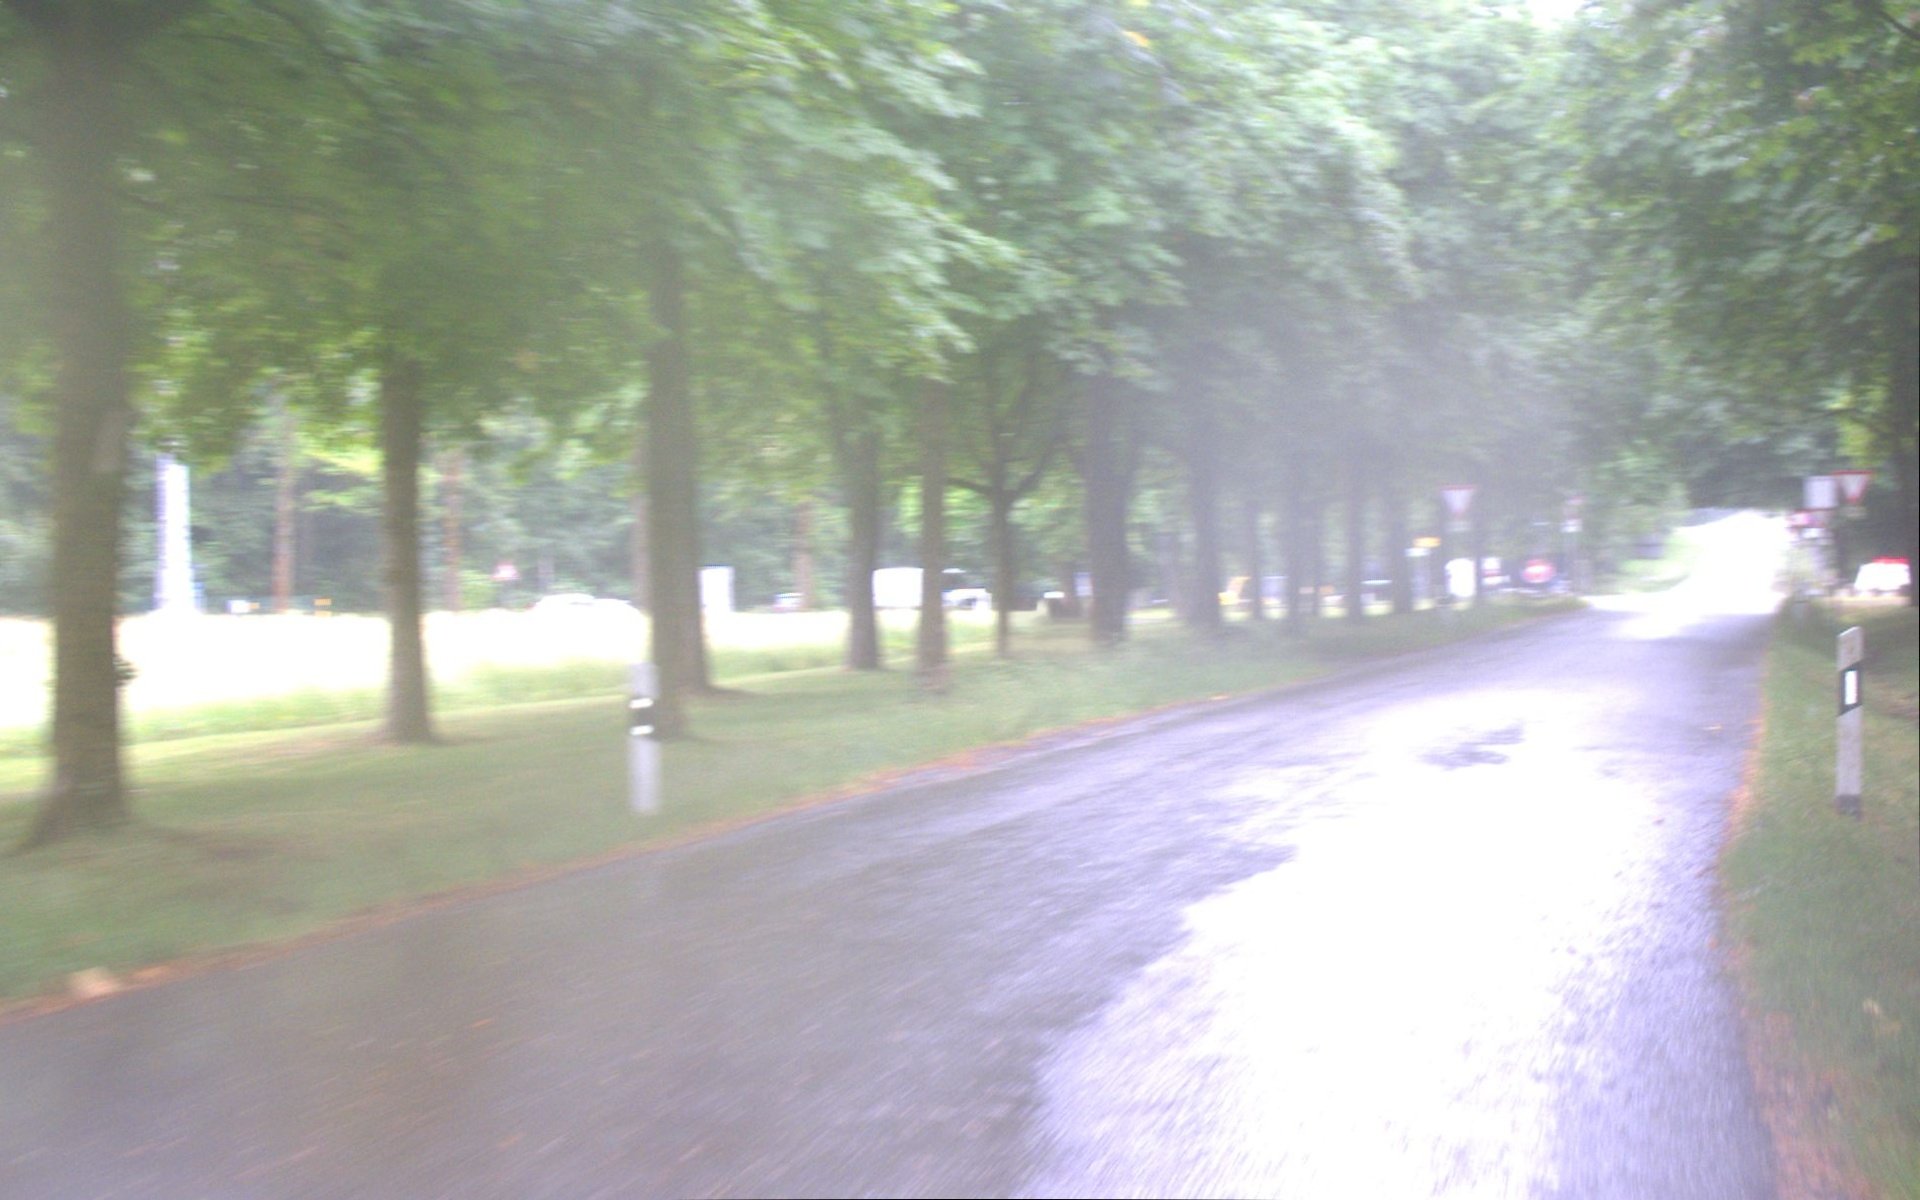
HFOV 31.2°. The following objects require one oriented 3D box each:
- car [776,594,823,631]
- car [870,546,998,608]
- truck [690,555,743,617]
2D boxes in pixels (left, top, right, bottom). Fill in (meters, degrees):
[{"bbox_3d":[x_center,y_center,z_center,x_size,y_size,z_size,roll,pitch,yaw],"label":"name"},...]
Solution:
[{"bbox_3d":[-6.549,0.506,140.002,1.762,1.424,4.107,-1,0,-4],"label":"car"},{"bbox_3d":[-1.128,-0.928,143.119,2.385,2.399,5.983,1,-2,-35],"label":"car"},{"bbox_3d":[-9.834,-0.556,138.991,1.869,2.434,3.349,-1,0,-1],"label":"truck"}]
